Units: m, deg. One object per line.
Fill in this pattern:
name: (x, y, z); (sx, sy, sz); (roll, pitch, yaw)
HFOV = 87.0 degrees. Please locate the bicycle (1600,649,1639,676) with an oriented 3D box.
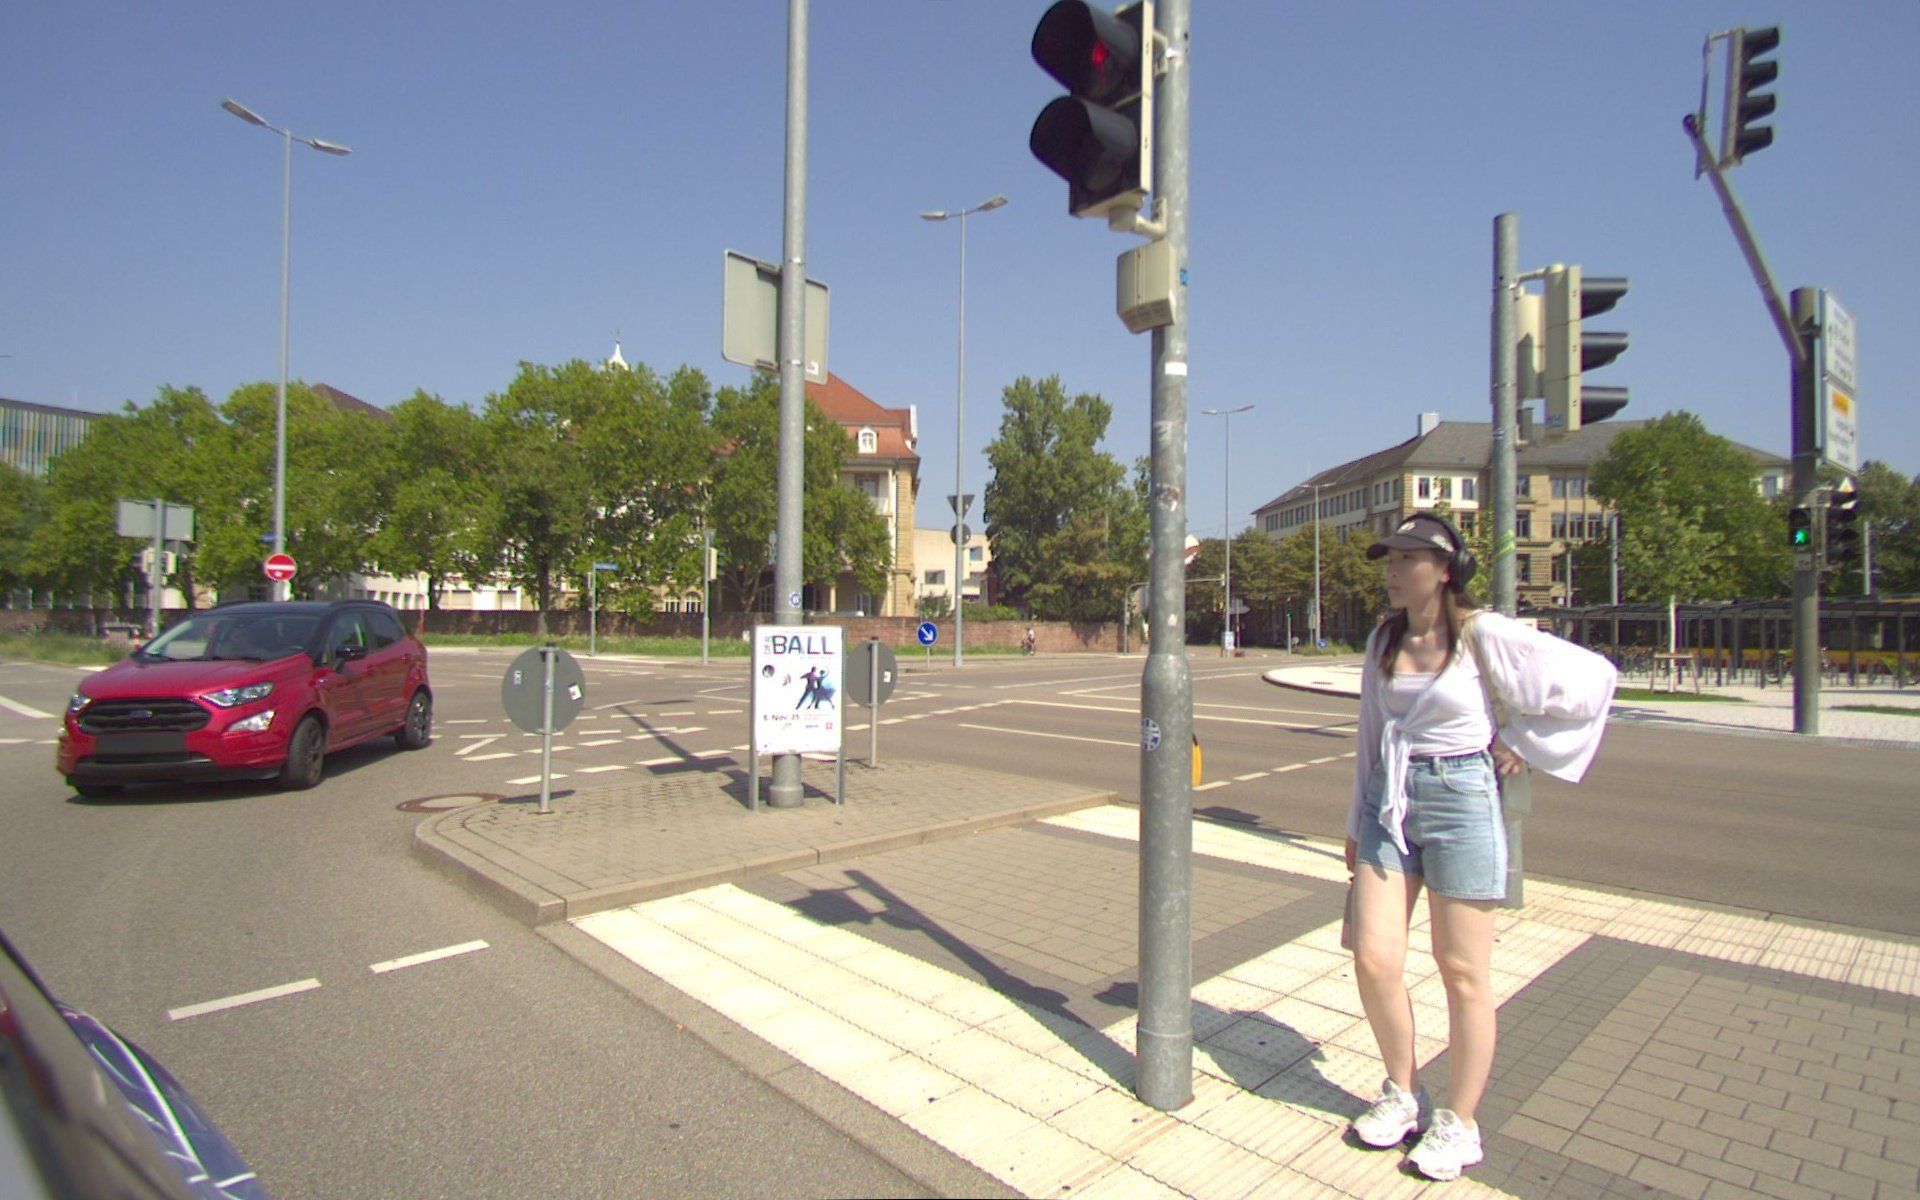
bicycle: (26.571, 2.498, 40.806); (0.407, 1.048, 1.642); (1, -3, -3)

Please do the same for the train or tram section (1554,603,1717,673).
train or tram section: (37.899, 2.212, 57.266); (3.090, 3.588, 8.337); (2, -3, -5)

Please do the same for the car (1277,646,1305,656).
car: (40.472, 6.217, 123.843); (3.009, 1.185, 1.254); (1, -2, -9)

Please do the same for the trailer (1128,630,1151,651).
trailer: (29.864, 6.698, 168.273); (2.404, 3.313, 5.096); (1, -2, -7)

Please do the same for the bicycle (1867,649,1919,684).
bicycle: (29.504, 2.073, 31.583); (0.504, 1.048, 1.740); (2, -3, -17)

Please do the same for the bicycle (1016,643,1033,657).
bicycle: (3.854, 2.972, 60.365); (0.435, 0.818, 1.472); (-1, -2, 27)

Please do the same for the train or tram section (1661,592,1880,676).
train or tram section: (38.674, 1.734, 48.874); (3.113, 3.625, 8.535); (2, -3, -5)

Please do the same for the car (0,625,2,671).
car: (-30.427, 1.437, 30.357); (3.415, 1.367, 1.771); (-1, -1, 34)

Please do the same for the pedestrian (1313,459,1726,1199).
pedestrian: (1.394, 0.563, 2.591); (0.688, 1.708, 0.609); (2, -3, -21)

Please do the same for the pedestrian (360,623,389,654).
pedestrian: (-39.268, 2.559, 67.878); (1.222, 2.029, 1.068); (0, -3, 11)

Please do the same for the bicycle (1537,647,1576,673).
bicycle: (25.221, 2.522, 42.844); (0.519, 1.048, 1.771); (1, -3, -3)

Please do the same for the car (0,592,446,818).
car: (-6.516, 0.848, 9.527); (1.816, 1.627, 4.007); (-1, -2, -8)

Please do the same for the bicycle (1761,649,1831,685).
bicycle: (26.134, 2.081, 31.671); (0.505, 1.048, 1.739); (2, -3, -12)

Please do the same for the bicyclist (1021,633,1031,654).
bicyclist: (3.934, 2.581, 60.513); (0.431, 1.242, 0.535); (-1, -3, 28)

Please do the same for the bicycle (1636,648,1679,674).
bicycle: (29.958, 2.617, 43.484); (0.519, 1.048, 1.771); (1, -3, -3)

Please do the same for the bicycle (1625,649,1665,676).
bicycle: (27.614, 2.515, 40.803); (0.407, 1.048, 1.642); (1, -3, -3)

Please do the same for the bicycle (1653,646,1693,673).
bicycle: (28.901, 2.406, 41.042); (0.407, 1.048, 1.642); (1, -3, -3)

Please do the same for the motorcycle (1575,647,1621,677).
motorcycle: (23.270, 2.252, 36.954); (0.484, 1.077, 1.780); (1, -3, -2)

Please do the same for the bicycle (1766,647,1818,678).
bicycle: (29.435, 2.190, 35.818); (0.407, 1.048, 1.642); (1, -3, -3)

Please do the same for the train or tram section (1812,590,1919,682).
train or tram section: (39.443, 1.479, 40.385); (3.113, 3.625, 8.535); (2, -3, -5)

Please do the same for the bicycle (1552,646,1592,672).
bicycle: (25.898, 2.481, 42.840); (0.519, 1.048, 1.771); (1, -3, -3)

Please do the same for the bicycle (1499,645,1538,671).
bicycle: (23.678, 2.445, 42.936); (0.519, 1.090, 1.866); (1, -3, -3)
